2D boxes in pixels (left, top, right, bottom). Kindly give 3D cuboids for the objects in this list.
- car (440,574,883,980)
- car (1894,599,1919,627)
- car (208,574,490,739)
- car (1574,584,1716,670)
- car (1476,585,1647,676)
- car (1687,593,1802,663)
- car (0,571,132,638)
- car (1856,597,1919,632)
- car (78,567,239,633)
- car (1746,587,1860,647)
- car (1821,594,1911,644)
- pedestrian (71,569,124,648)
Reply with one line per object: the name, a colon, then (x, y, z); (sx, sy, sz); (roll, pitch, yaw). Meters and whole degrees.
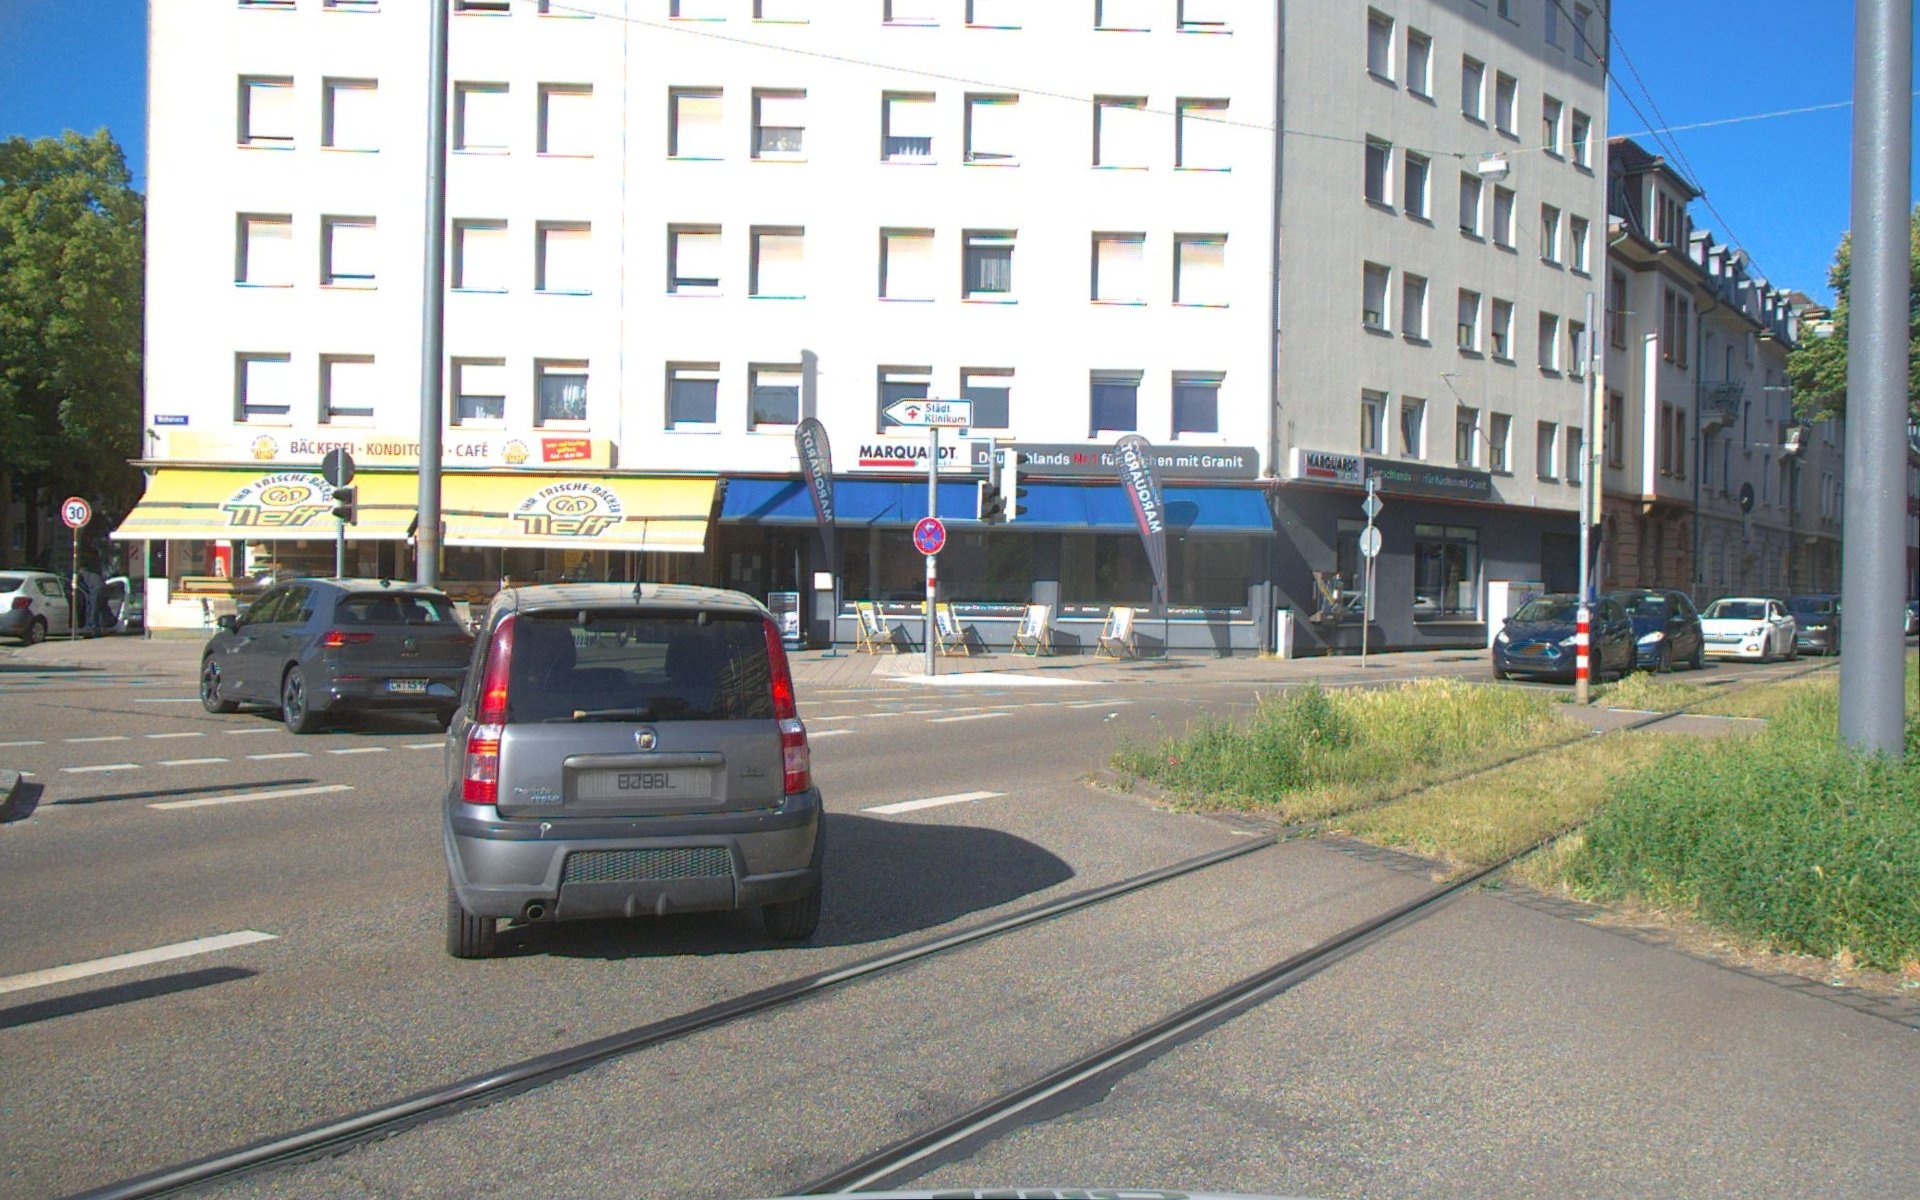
car: (-1.623, 0.654, 8.065); (1.635, 1.536, 3.233); (1, 1, -19)
car: (49.316, 0.671, 84.817); (1.961, 1.371, 3.983); (1, 1, 37)
car: (-6.281, 0.487, 16.790); (1.610, 1.454, 3.636); (1, 1, -39)
car: (13.790, 0.505, 33.198); (1.761, 1.593, 3.750); (1, 1, 37)
car: (10.391, 0.484, 28.447); (1.761, 1.420, 3.709); (1, 1, 37)
car: (18.424, 0.628, 38.787); (1.761, 1.508, 3.517); (1, 1, 37)
car: (-19.811, 0.061, 35.497); (1.952, 1.333, 4.001); (1, 1, 2)
car: (40.367, 0.608, 71.950); (1.960, 1.419, 3.985); (1, 1, 35)
car: (-19.899, -0.022, 41.270); (1.895, 1.539, 3.941); (1, 1, 4)
car: (22.549, 0.438, 44.173); (1.962, 1.498, 3.981); (1, 1, 38)
car: (29.556, 0.598, 53.905); (1.962, 1.513, 3.981); (1, 1, 38)
pedestrian: (-18.281, 0.165, 35.071); (0.777, 1.649, 0.828); (0, 1, -10)
